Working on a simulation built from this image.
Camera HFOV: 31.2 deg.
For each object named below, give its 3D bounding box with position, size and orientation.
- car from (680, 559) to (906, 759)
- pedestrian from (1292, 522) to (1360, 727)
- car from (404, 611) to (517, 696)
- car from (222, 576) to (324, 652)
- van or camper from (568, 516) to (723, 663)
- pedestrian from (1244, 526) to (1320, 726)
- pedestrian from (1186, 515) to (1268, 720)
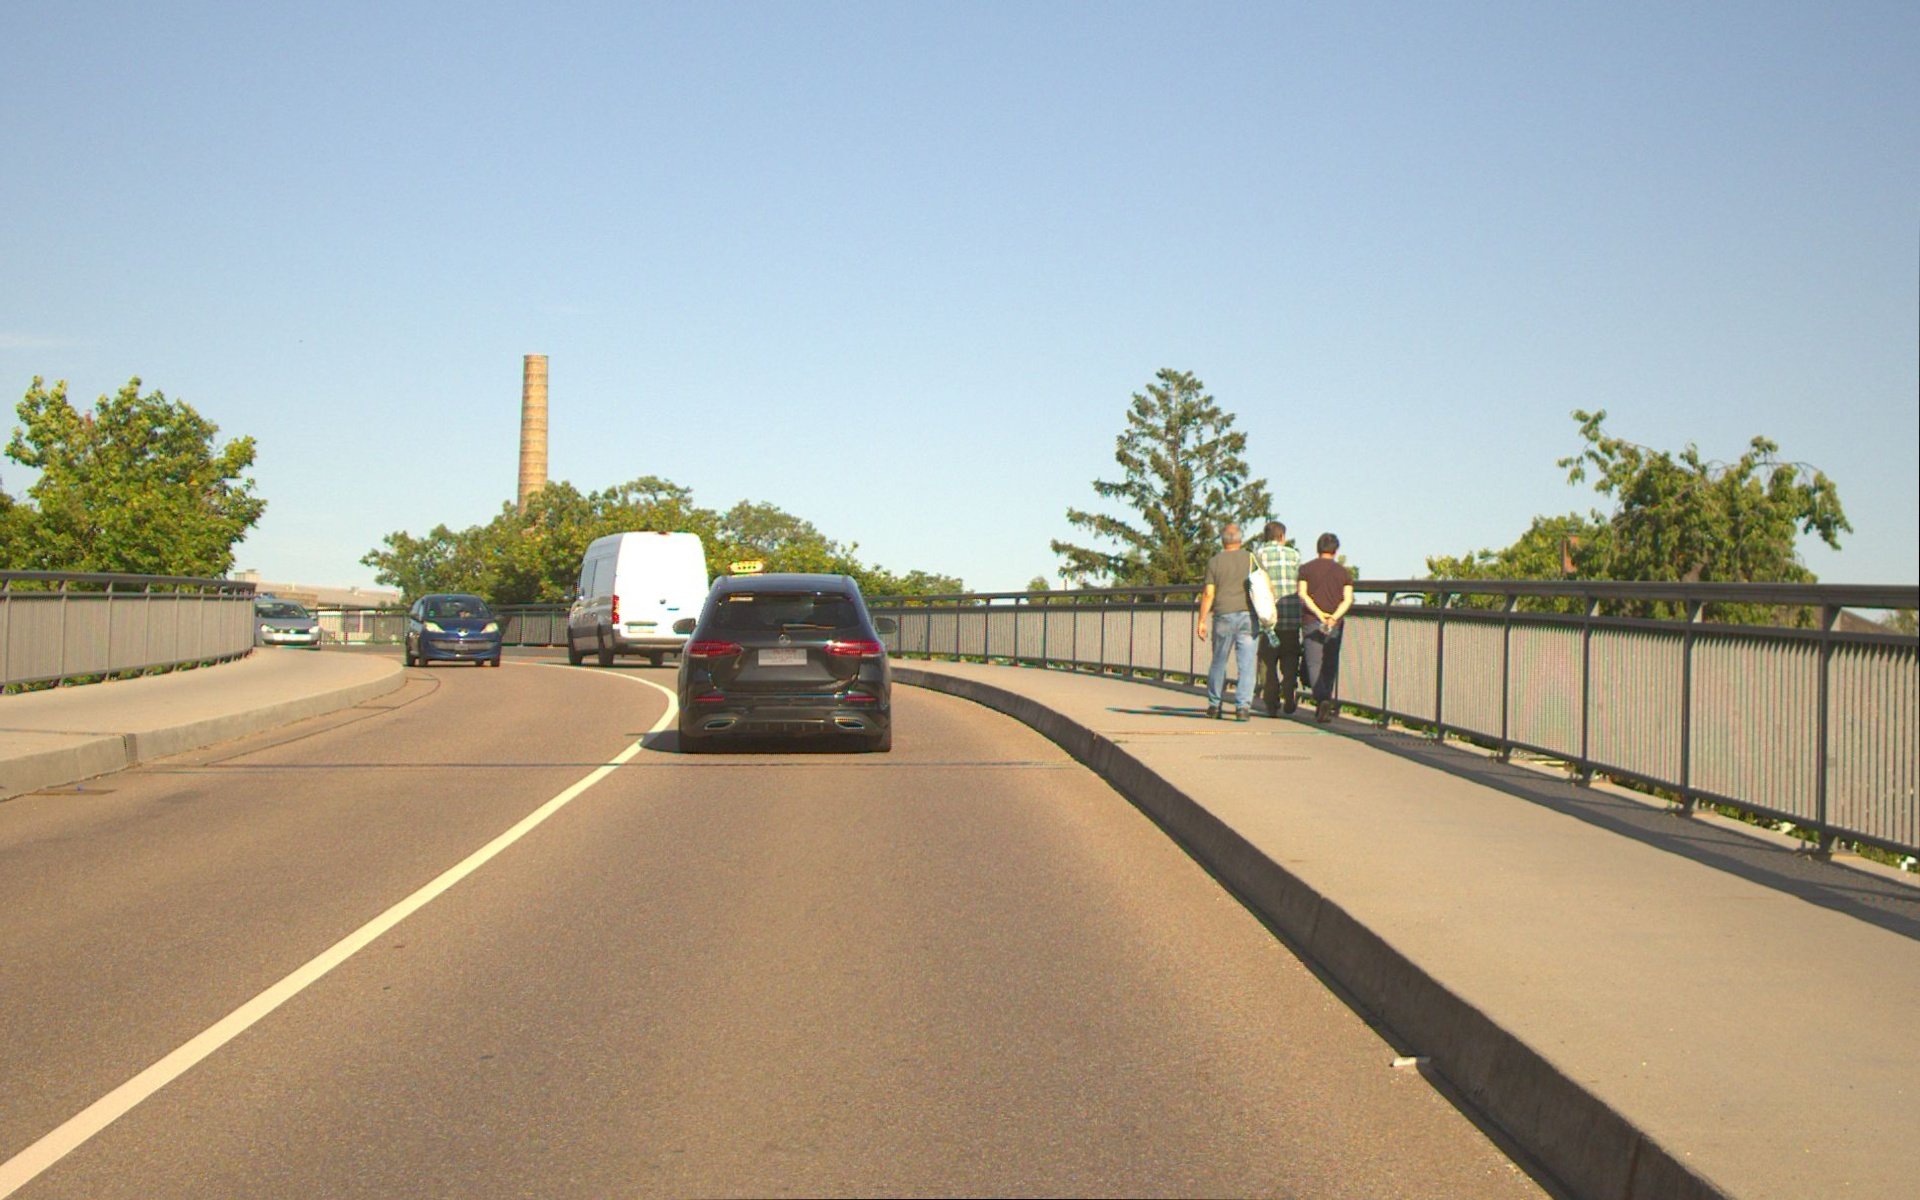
[{"bbox_3d":[-1.521,0.465,30.015,1.769,1.587,3.990,2,0,-5],"label":"car"},{"bbox_3d":[3.159,0.219,29.684,0.471,1.744,0.654,2,-2,-1],"label":"pedestrian"},{"bbox_3d":[-10.056,1.056,69.438,1.769,1.587,3.989,2,0,-1],"label":"car"},{"bbox_3d":[-17.949,0.336,89.702,1.847,1.792,4.001,0,2,-23],"label":"car"},{"bbox_3d":[-6.491,-0.136,70.175,2.225,2.730,7.081,2,-2,-12],"label":"van or camper"},{"bbox_3d":[2.859,0.240,30.559,0.549,1.744,0.738,2,-2,-1],"label":"pedestrian"},{"bbox_3d":[2.316,0.161,29.830,0.602,1.744,0.717,2,-2,-1],"label":"pedestrian"}]
